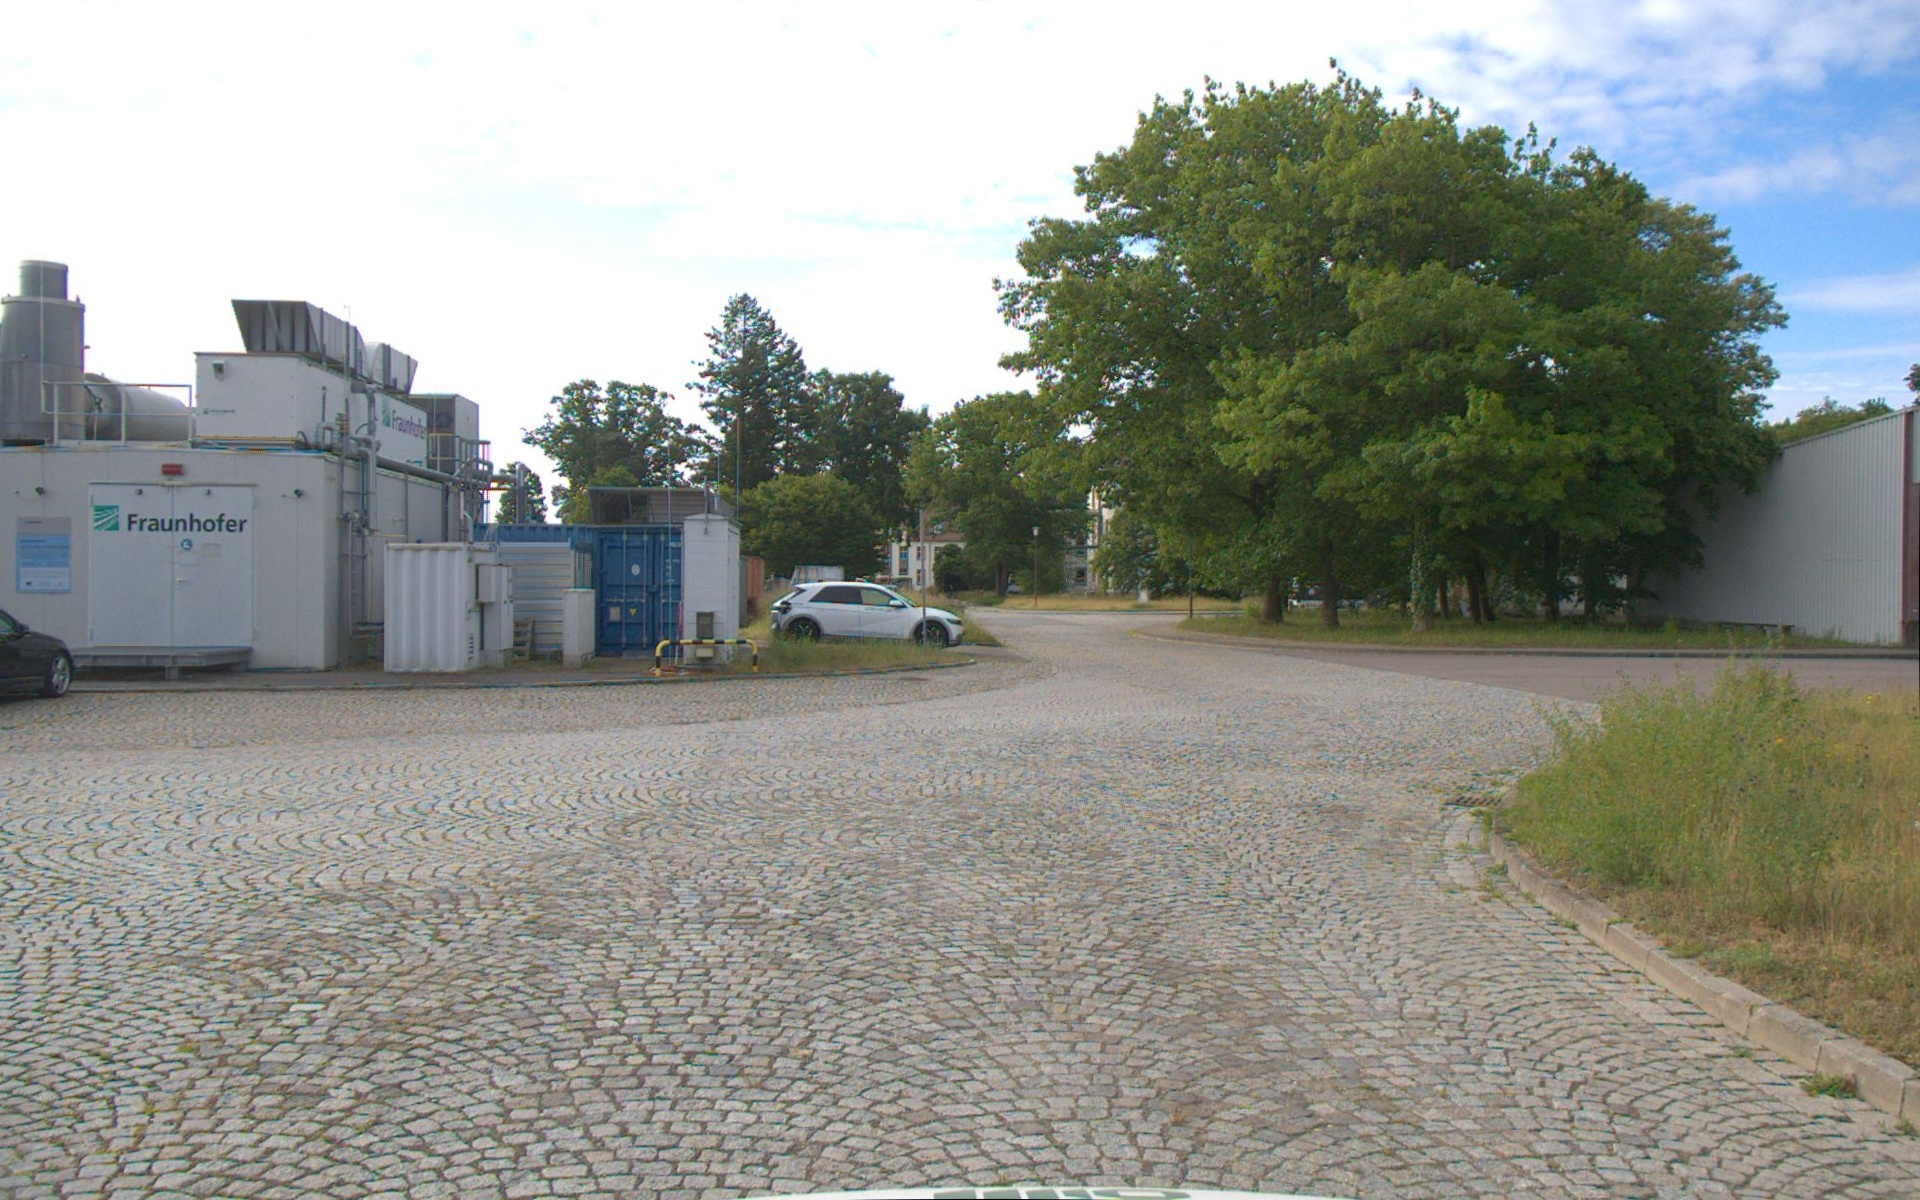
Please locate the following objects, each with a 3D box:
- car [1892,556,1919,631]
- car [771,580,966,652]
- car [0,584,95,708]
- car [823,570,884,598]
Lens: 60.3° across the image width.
[{"bbox_3d":[27.476,-0.172,43.859,2.197,2.049,5.331,0,0,-5],"label":"car"},{"bbox_3d":[-2.117,0.349,38.807,4.442,1.627,1.999,0,0,-2],"label":"car"},{"bbox_3d":[-12.996,0.599,20.892,1.996,1.478,4.527,0,2,-4],"label":"car"},{"bbox_3d":[-9.017,-1.369,140.080,5.069,2.378,1.998,0,0,-5],"label":"car"}]
